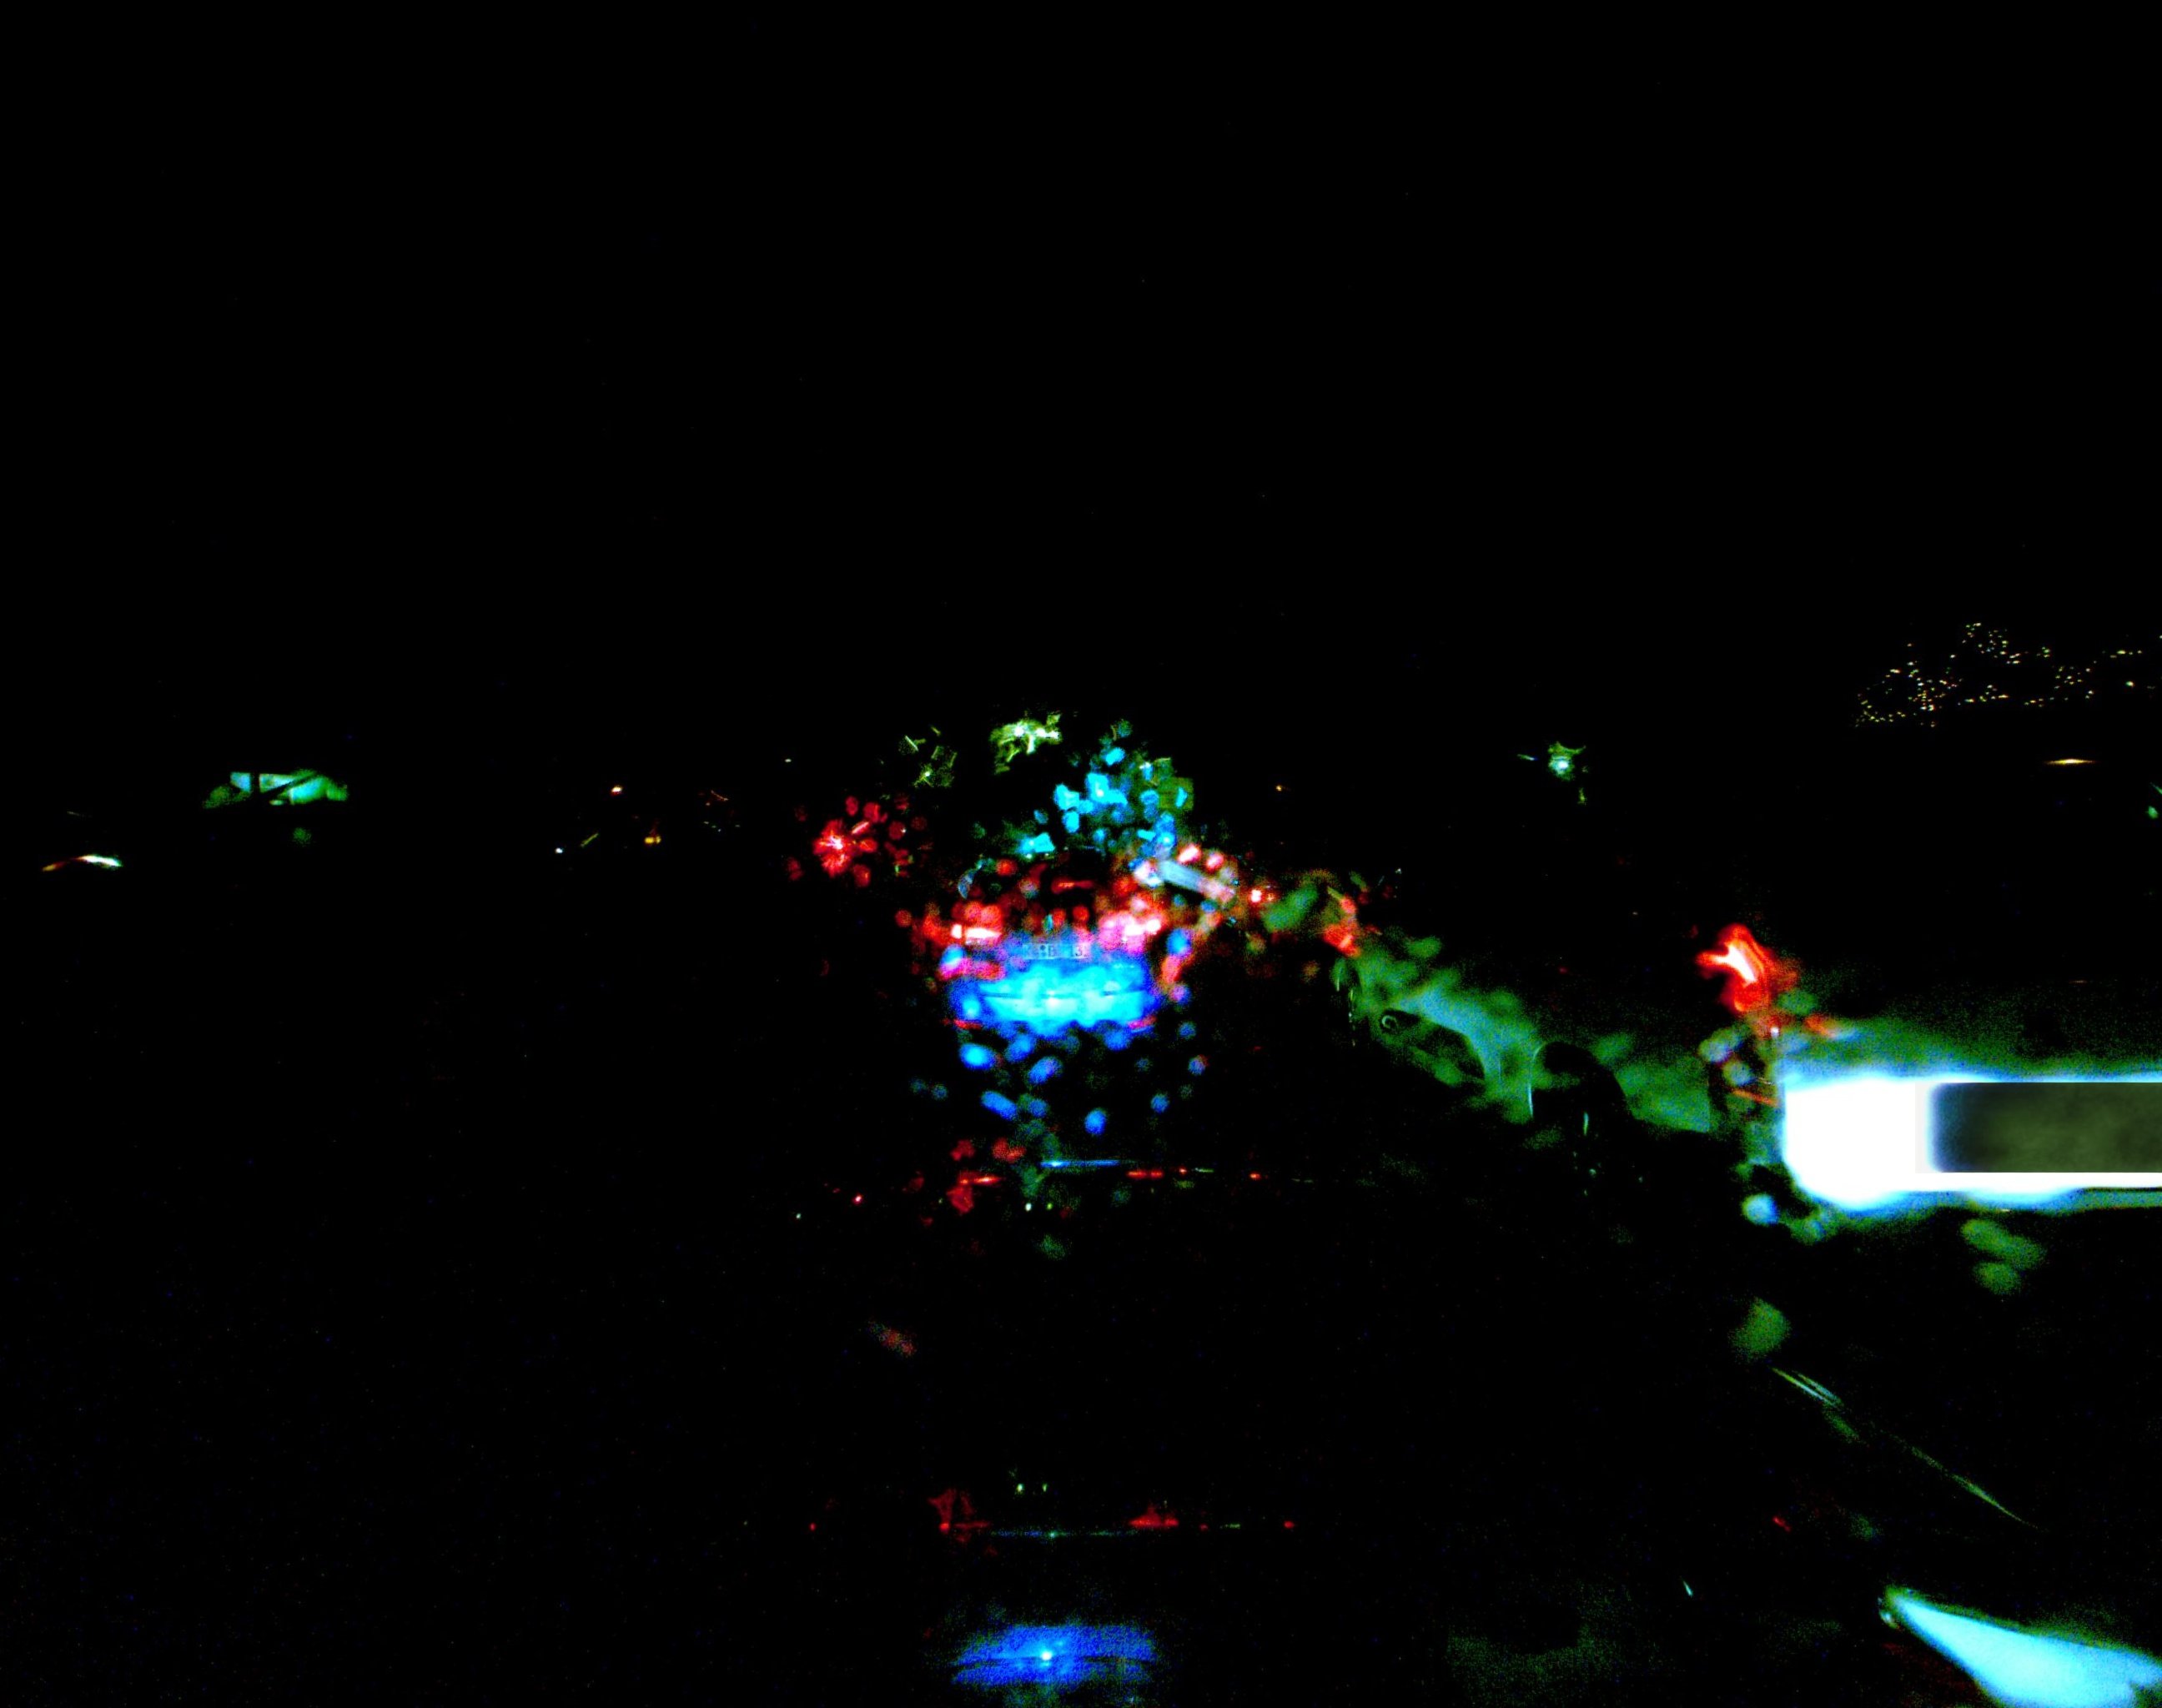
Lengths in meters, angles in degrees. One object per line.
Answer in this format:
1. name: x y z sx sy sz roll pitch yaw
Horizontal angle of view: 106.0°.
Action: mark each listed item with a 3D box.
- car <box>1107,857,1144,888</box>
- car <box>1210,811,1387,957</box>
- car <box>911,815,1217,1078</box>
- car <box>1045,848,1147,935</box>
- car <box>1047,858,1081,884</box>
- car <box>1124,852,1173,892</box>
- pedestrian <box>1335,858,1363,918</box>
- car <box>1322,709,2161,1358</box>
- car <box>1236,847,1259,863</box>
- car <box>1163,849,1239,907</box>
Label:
1. car: 2.651 1.076 49.265 1.987 1.773 3.999 0 -1 0
2. car: 3.383 0.435 13.469 1.961 2.047 4.001 0 -1 2
3. car: -0.065 0.629 7.595 2.007 1.717 4.452 0 -1 1
4. car: 0.357 0.756 17.941 1.986 1.684 4.001 0 -1 2
5. car: -1.261 1.233 59.344 1.993 1.824 3.987 0 -1 -9
6. car: 2.968 0.787 36.647 1.986 1.670 4.001 0 -1 2
7. pedestrian: 7.646 0.966 23.234 0.621 1.701 0.541 0 -1 -1
8. car: 2.846 0.533 4.521 1.845 1.865 4.342 0 -1 2
9. car: 19.116 0.139 93.537 1.857 1.646 3.965 -3 -1 2
10. car: 3.760 0.737 26.144 1.986 1.718 4.001 0 -1 2
